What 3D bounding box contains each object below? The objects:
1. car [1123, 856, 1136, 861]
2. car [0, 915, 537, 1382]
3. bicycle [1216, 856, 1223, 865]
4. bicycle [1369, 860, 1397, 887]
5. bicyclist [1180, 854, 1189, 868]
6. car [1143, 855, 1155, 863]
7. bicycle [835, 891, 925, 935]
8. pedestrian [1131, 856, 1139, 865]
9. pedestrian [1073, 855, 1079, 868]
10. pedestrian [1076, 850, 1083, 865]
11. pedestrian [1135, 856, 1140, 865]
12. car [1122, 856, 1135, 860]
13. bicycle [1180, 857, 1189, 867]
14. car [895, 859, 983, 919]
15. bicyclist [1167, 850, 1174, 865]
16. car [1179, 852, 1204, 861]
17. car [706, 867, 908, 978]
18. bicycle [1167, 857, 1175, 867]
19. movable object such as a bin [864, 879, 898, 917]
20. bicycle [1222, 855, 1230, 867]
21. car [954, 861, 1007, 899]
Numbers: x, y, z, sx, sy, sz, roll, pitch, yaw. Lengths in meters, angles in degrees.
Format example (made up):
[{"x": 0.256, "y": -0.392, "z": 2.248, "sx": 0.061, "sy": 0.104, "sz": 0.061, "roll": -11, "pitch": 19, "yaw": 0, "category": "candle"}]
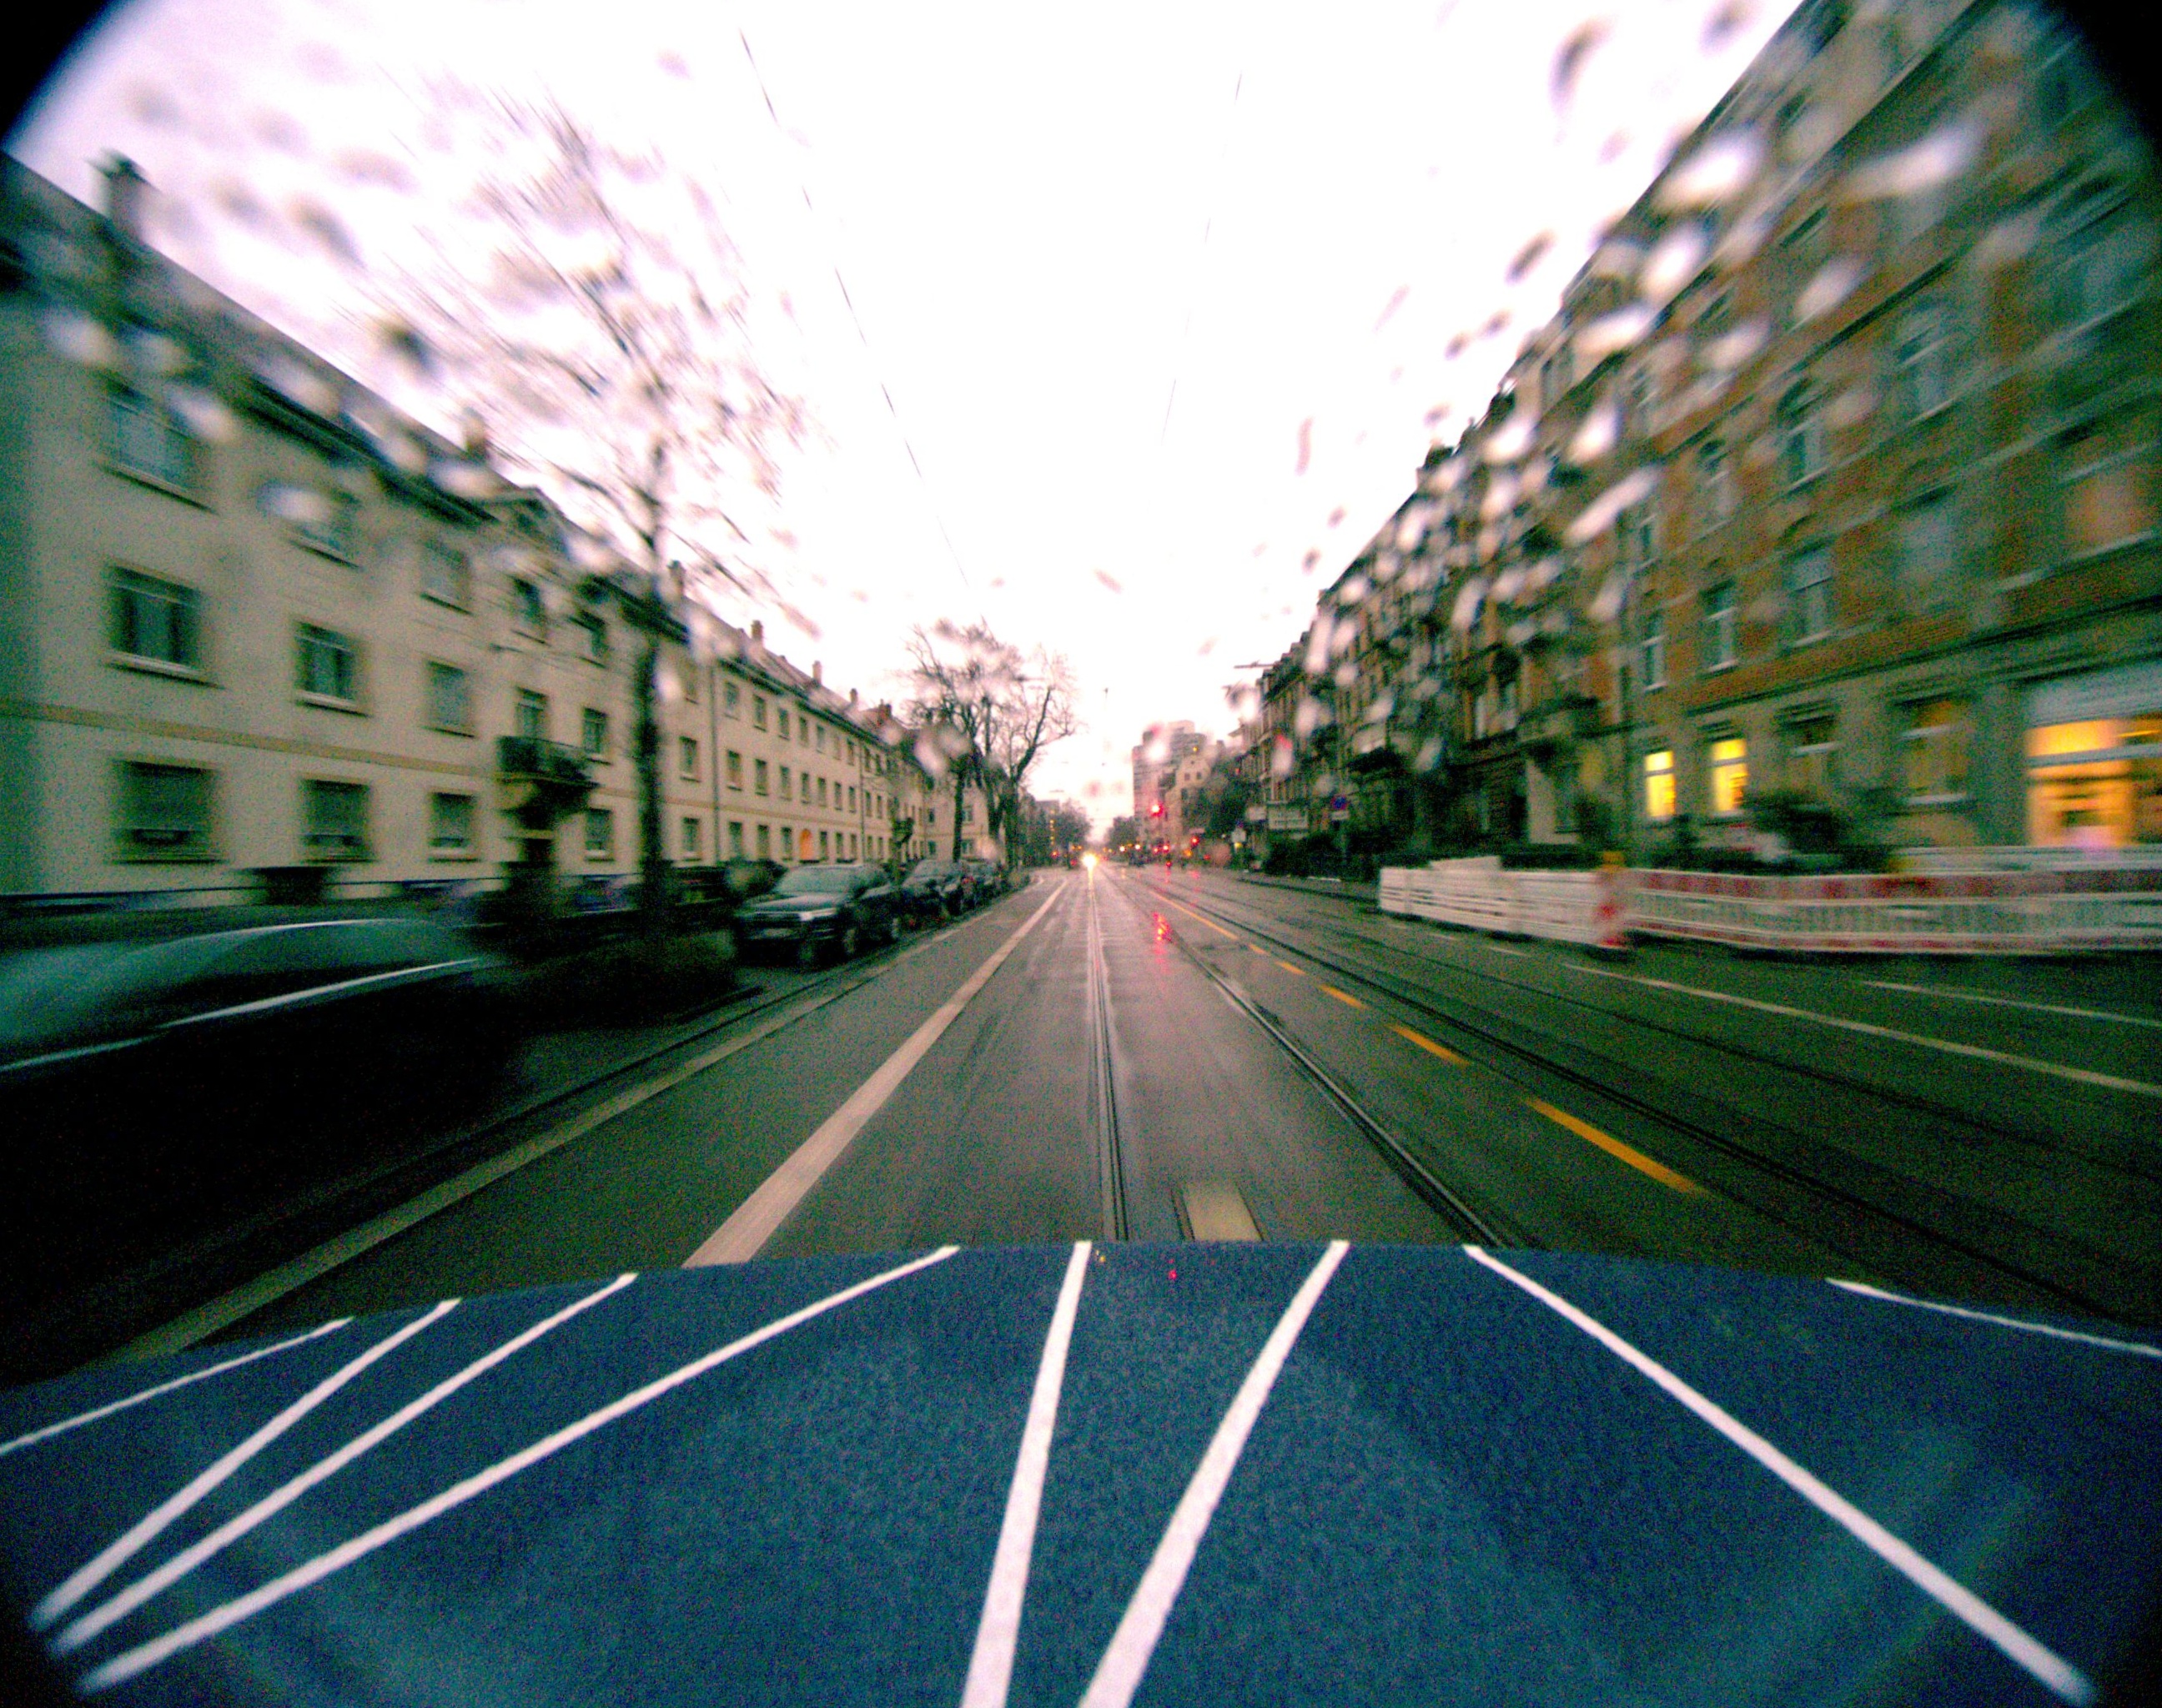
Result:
[{"x": 14.400, "y": 1.218, "z": 226.227, "sx": 3.839, "sy": 1.405, "sz": 1.727, "roll": -2, "pitch": 0, "yaw": 1, "category": "car"}, {"x": -4.778, "y": 1.161, "z": 3.284, "sx": 1.884, "sy": 1.411, "sz": 4.342, "roll": -1, "pitch": 0, "yaw": -3, "category": "car"}, {"x": 13.680, "y": 0.676, "z": 74.933, "sx": 0.400, "sy": 0.857, "sz": 1.849, "roll": -2, "pitch": 0, "yaw": 2, "category": "bicycle"}, {"x": 11.088, "y": 0.707, "z": 27.932, "sx": 0.264, "sy": 0.910, "sz": 1.685, "roll": -7, "pitch": 0, "yaw": 1, "category": "bicycle"}, {"x": 10.373, "y": 0.688, "z": 75.974, "sx": 0.706, "sy": 1.356, "sz": 0.944, "roll": -3, "pitch": 1, "yaw": 1, "category": "bicyclist"}, {"x": 13.917, "y": 1.118, "z": 156.486, "sx": 1.677, "sy": 1.507, "sz": 3.677, "roll": -4, "pitch": 0, "yaw": -5, "category": "car"}, {"x": -4.785, "y": 1.396, "z": 18.139, "sx": 2.017, "sy": 0.911, "sz": 0.465, "roll": 3, "pitch": 1, "yaw": 6, "category": "bicycle"}, {"x": 8.200, "y": 0.958, "z": 114.791, "sx": 1.058, "sy": 1.247, "sz": 0.506, "roll": -4, "pitch": 1, "yaw": 0, "category": "pedestrian"}, {"x": -0.704, "y": 0.991, "z": 104.395, "sx": 0.659, "sy": 1.698, "sz": 0.571, "roll": -4, "pitch": 1, "yaw": 2, "category": "pedestrian"}, {"x": -0.237, "y": 0.465, "z": 101.845, "sx": 0.689, "sy": 1.906, "sz": 0.717, "roll": -2, "pitch": 1, "yaw": -17, "category": "pedestrian"}, {"x": 8.465, "y": 0.950, "z": 114.190, "sx": 0.654, "sy": 1.211, "sz": 0.517, "roll": -4, "pitch": 1, "yaw": 1, "category": "pedestrian"}, {"x": 14.251, "y": 1.215, "z": 228.904, "sx": 3.839, "sy": 1.405, "sz": 1.727, "roll": -1, "pitch": 0, "yaw": 1, "category": "car"}, {"x": 10.381, "y": 0.800, "z": 76.079, "sx": 0.683, "sy": 1.001, "sz": 1.803, "roll": -1, "pitch": 0, "yaw": 2, "category": "bicycle"}, {"x": -4.552, "y": 1.060, "z": 25.042, "sx": 1.910, "sy": 1.717, "sz": 4.902, "roll": -1, "pitch": 0, "yaw": 0, "category": "car"}, {"x": 9.419, "y": 0.357, "z": 79.828, "sx": 0.685, "sy": 1.606, "sz": 0.765, "roll": -2, "pitch": 1, "yaw": 2, "category": "bicyclist"}, {"x": 19.172, "y": 0.438, "z": 131.773, "sx": 4.338, "sy": 1.574, "sz": 1.938, "roll": -1, "pitch": 0, "yaw": 8, "category": "car"}, {"x": -4.790, "y": 1.107, "z": 14.121, "sx": 1.910, "sy": 1.601, "sz": 4.561, "roll": -1, "pitch": 0, "yaw": 2, "category": "car"}, {"x": 9.451, "y": 0.855, "z": 79.743, "sx": 0.680, "sy": 0.966, "sz": 1.933, "roll": -2, "pitch": 0, "yaw": 2, "category": "bicycle"}, {"x": -5.369, "y": 1.182, "z": 20.413, "sx": 0.753, "sy": 0.948, "sz": 0.569, "roll": 4, "pitch": 0, "yaw": -5, "category": "movable object such as a bin"}, {"x": 13.355, "y": 0.634, "z": 70.107, "sx": 0.417, "sy": 1.001, "sz": 1.849, "roll": -2, "pitch": 0, "yaw": 2, "category": "bicycle"}, {"x": -4.467, "y": 1.129, "z": 34.288, "sx": 1.790, "sy": 1.501, "sz": 3.987, "roll": -1, "pitch": 0, "yaw": 0, "category": "car"}]
